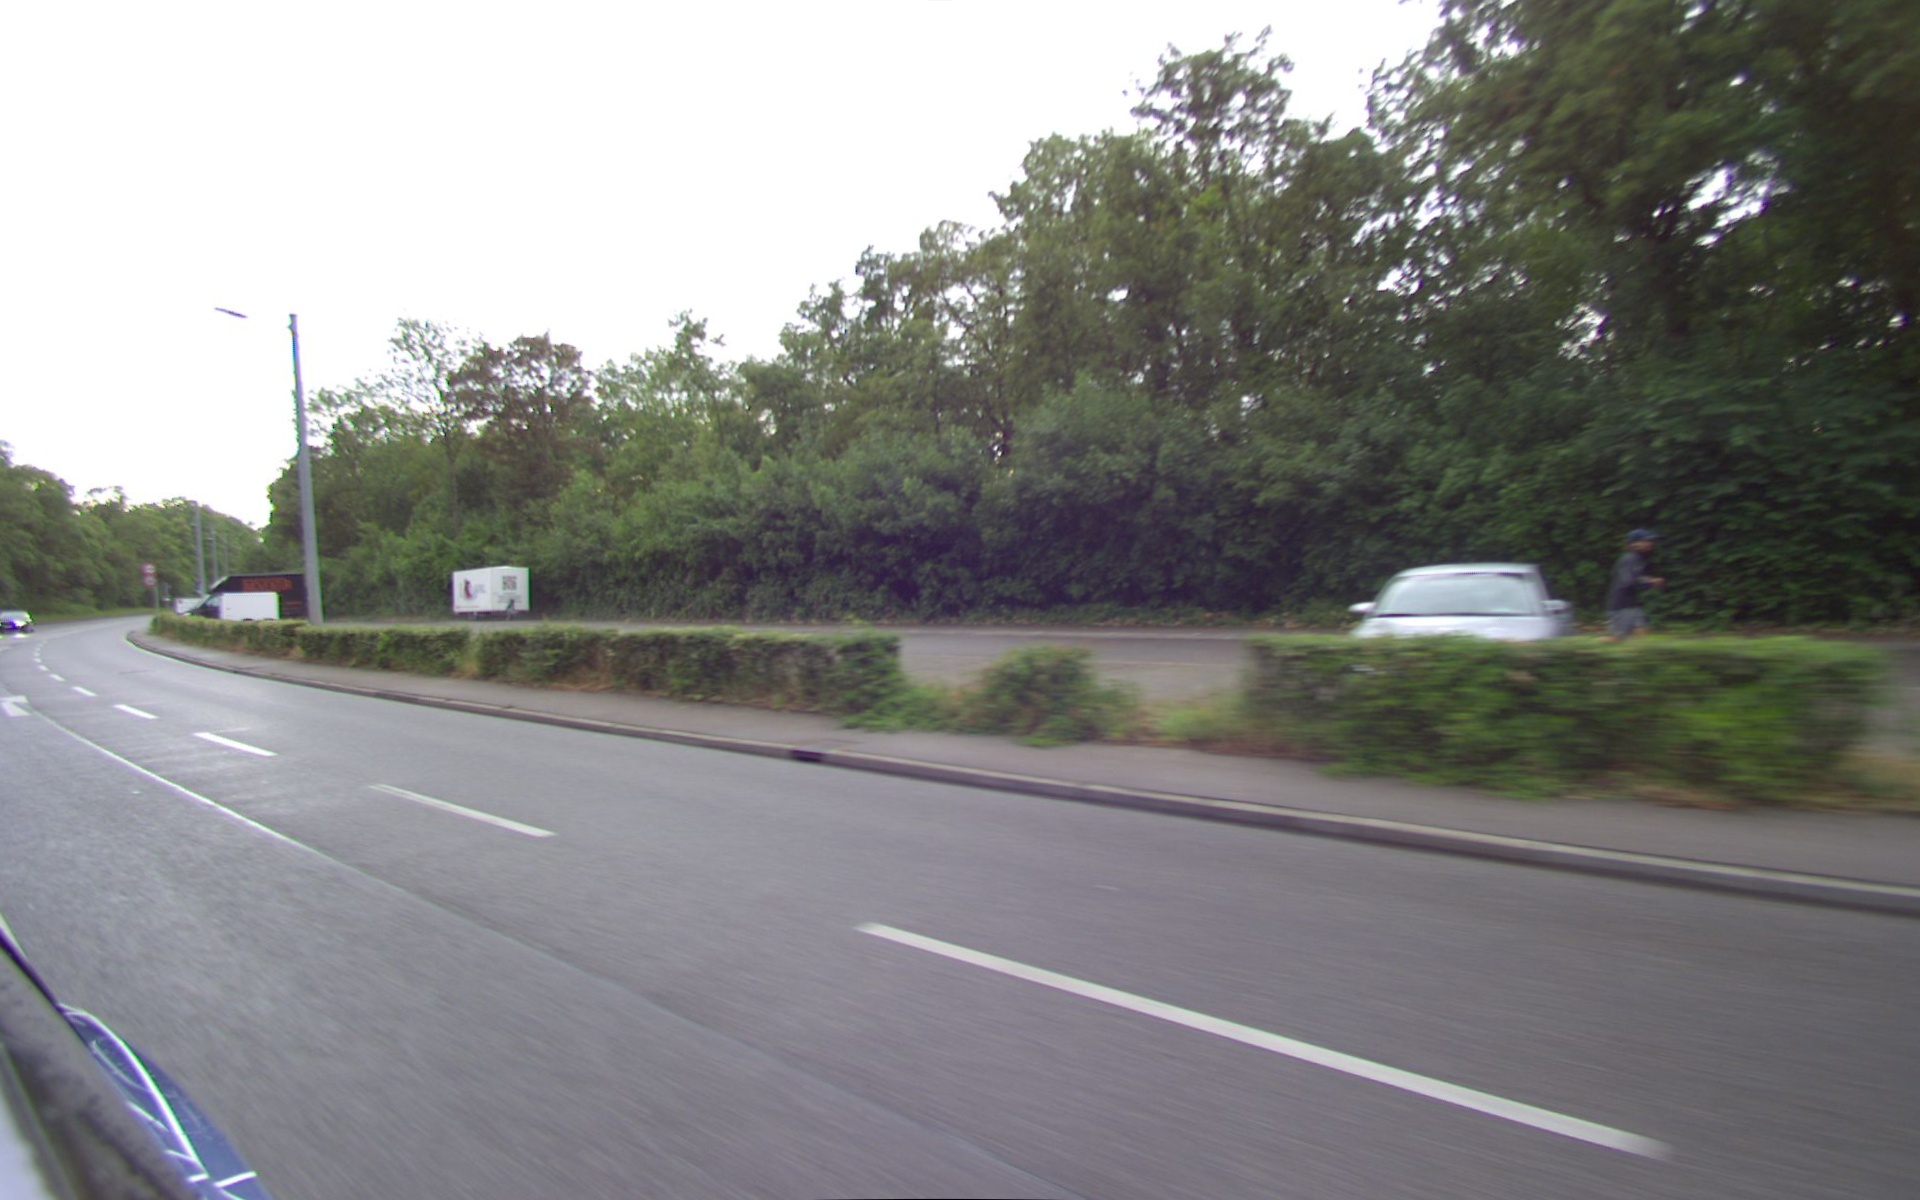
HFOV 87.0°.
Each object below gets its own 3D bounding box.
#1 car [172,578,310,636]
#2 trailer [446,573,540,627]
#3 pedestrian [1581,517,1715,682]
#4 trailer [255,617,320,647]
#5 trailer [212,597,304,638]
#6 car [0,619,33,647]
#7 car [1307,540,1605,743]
[{"bbox_3d":[-41.678,0.341,58.783,6.198,3.136,2.754,-2,2,-44],"label":"car"},{"bbox_3d":[-26.631,0.003,57.484,2.447,2.895,7.984,-1,0,-43],"label":"trailer"},{"bbox_3d":[7.999,-0.004,11.778,1.136,1.811,0.808,-1,0,45],"label":"pedestrian"},{"bbox_3d":[-25.414,1.208,38.255,1.334,1.042,1.781,-1,1,43],"label":"trailer"},{"bbox_3d":[-37.970,0.897,54.777,3.937,2.068,1.876,-1,0,-41],"label":"trailer"},{"bbox_3d":[-62.532,2.156,66.465,1.967,1.696,4.010,-1,0,-36],"label":"car"},{"bbox_3d":[5.096,0.263,10.003,1.995,1.517,4.537,-1,1,34],"label":"car"}]
